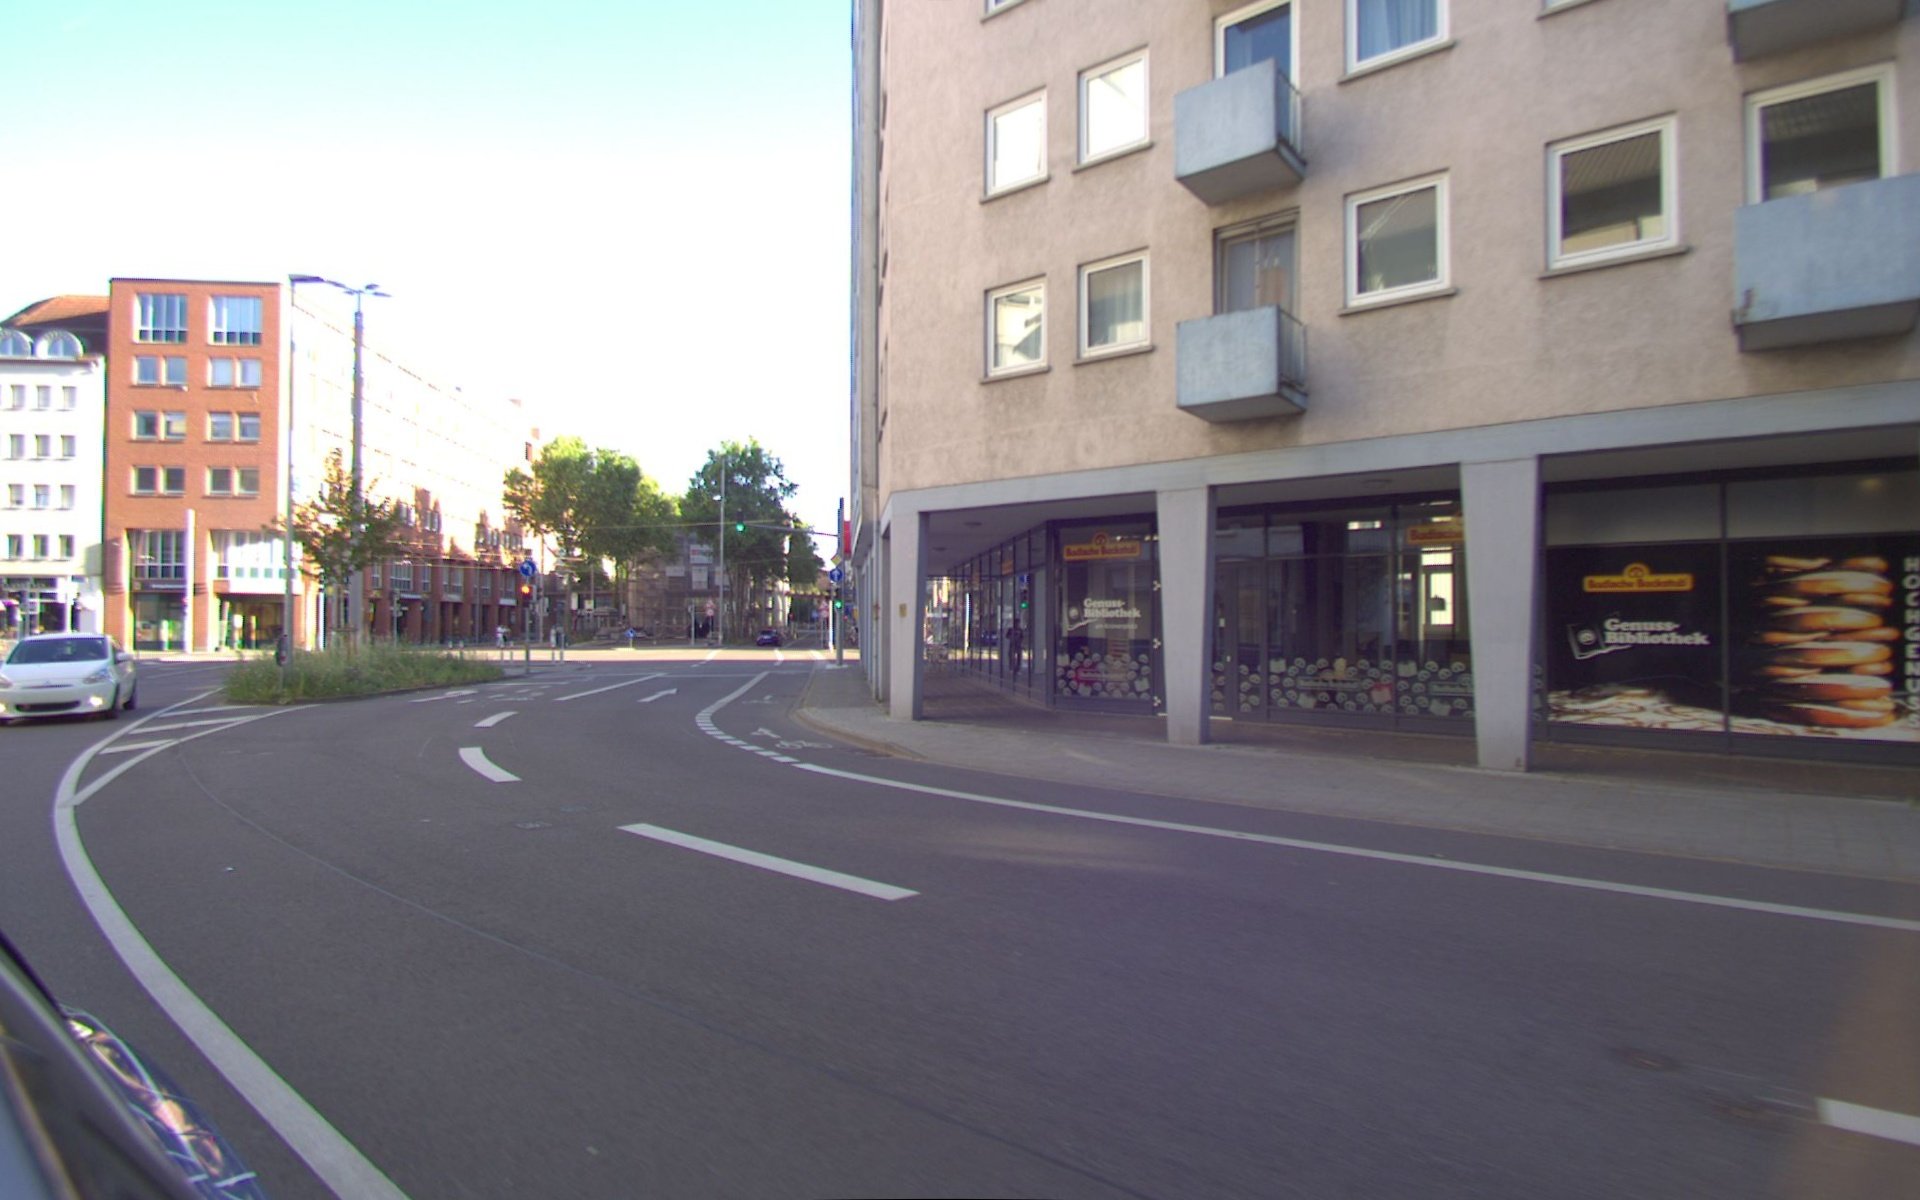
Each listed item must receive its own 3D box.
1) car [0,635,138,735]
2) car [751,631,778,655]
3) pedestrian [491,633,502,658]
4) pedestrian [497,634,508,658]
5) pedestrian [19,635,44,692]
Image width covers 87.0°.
[{"bbox_3d":[-15.620,1.386,17.627,1.656,1.510,3.695,1,-2,-34],"label":"car"},{"bbox_3d":[-16.111,3.543,83.570,1.865,1.741,4.094,-1,0,-7],"label":"car"},{"bbox_3d":[-33.902,3.328,74.086,0.546,1.760,0.716,-1,0,-8],"label":"pedestrian"},{"bbox_3d":[-33.841,3.377,74.901,0.546,1.760,0.716,-1,0,-8],"label":"pedestrian"},{"bbox_3d":[-29.497,2.015,32.148,0.585,1.760,0.502,-1,0,-43],"label":"pedestrian"}]
